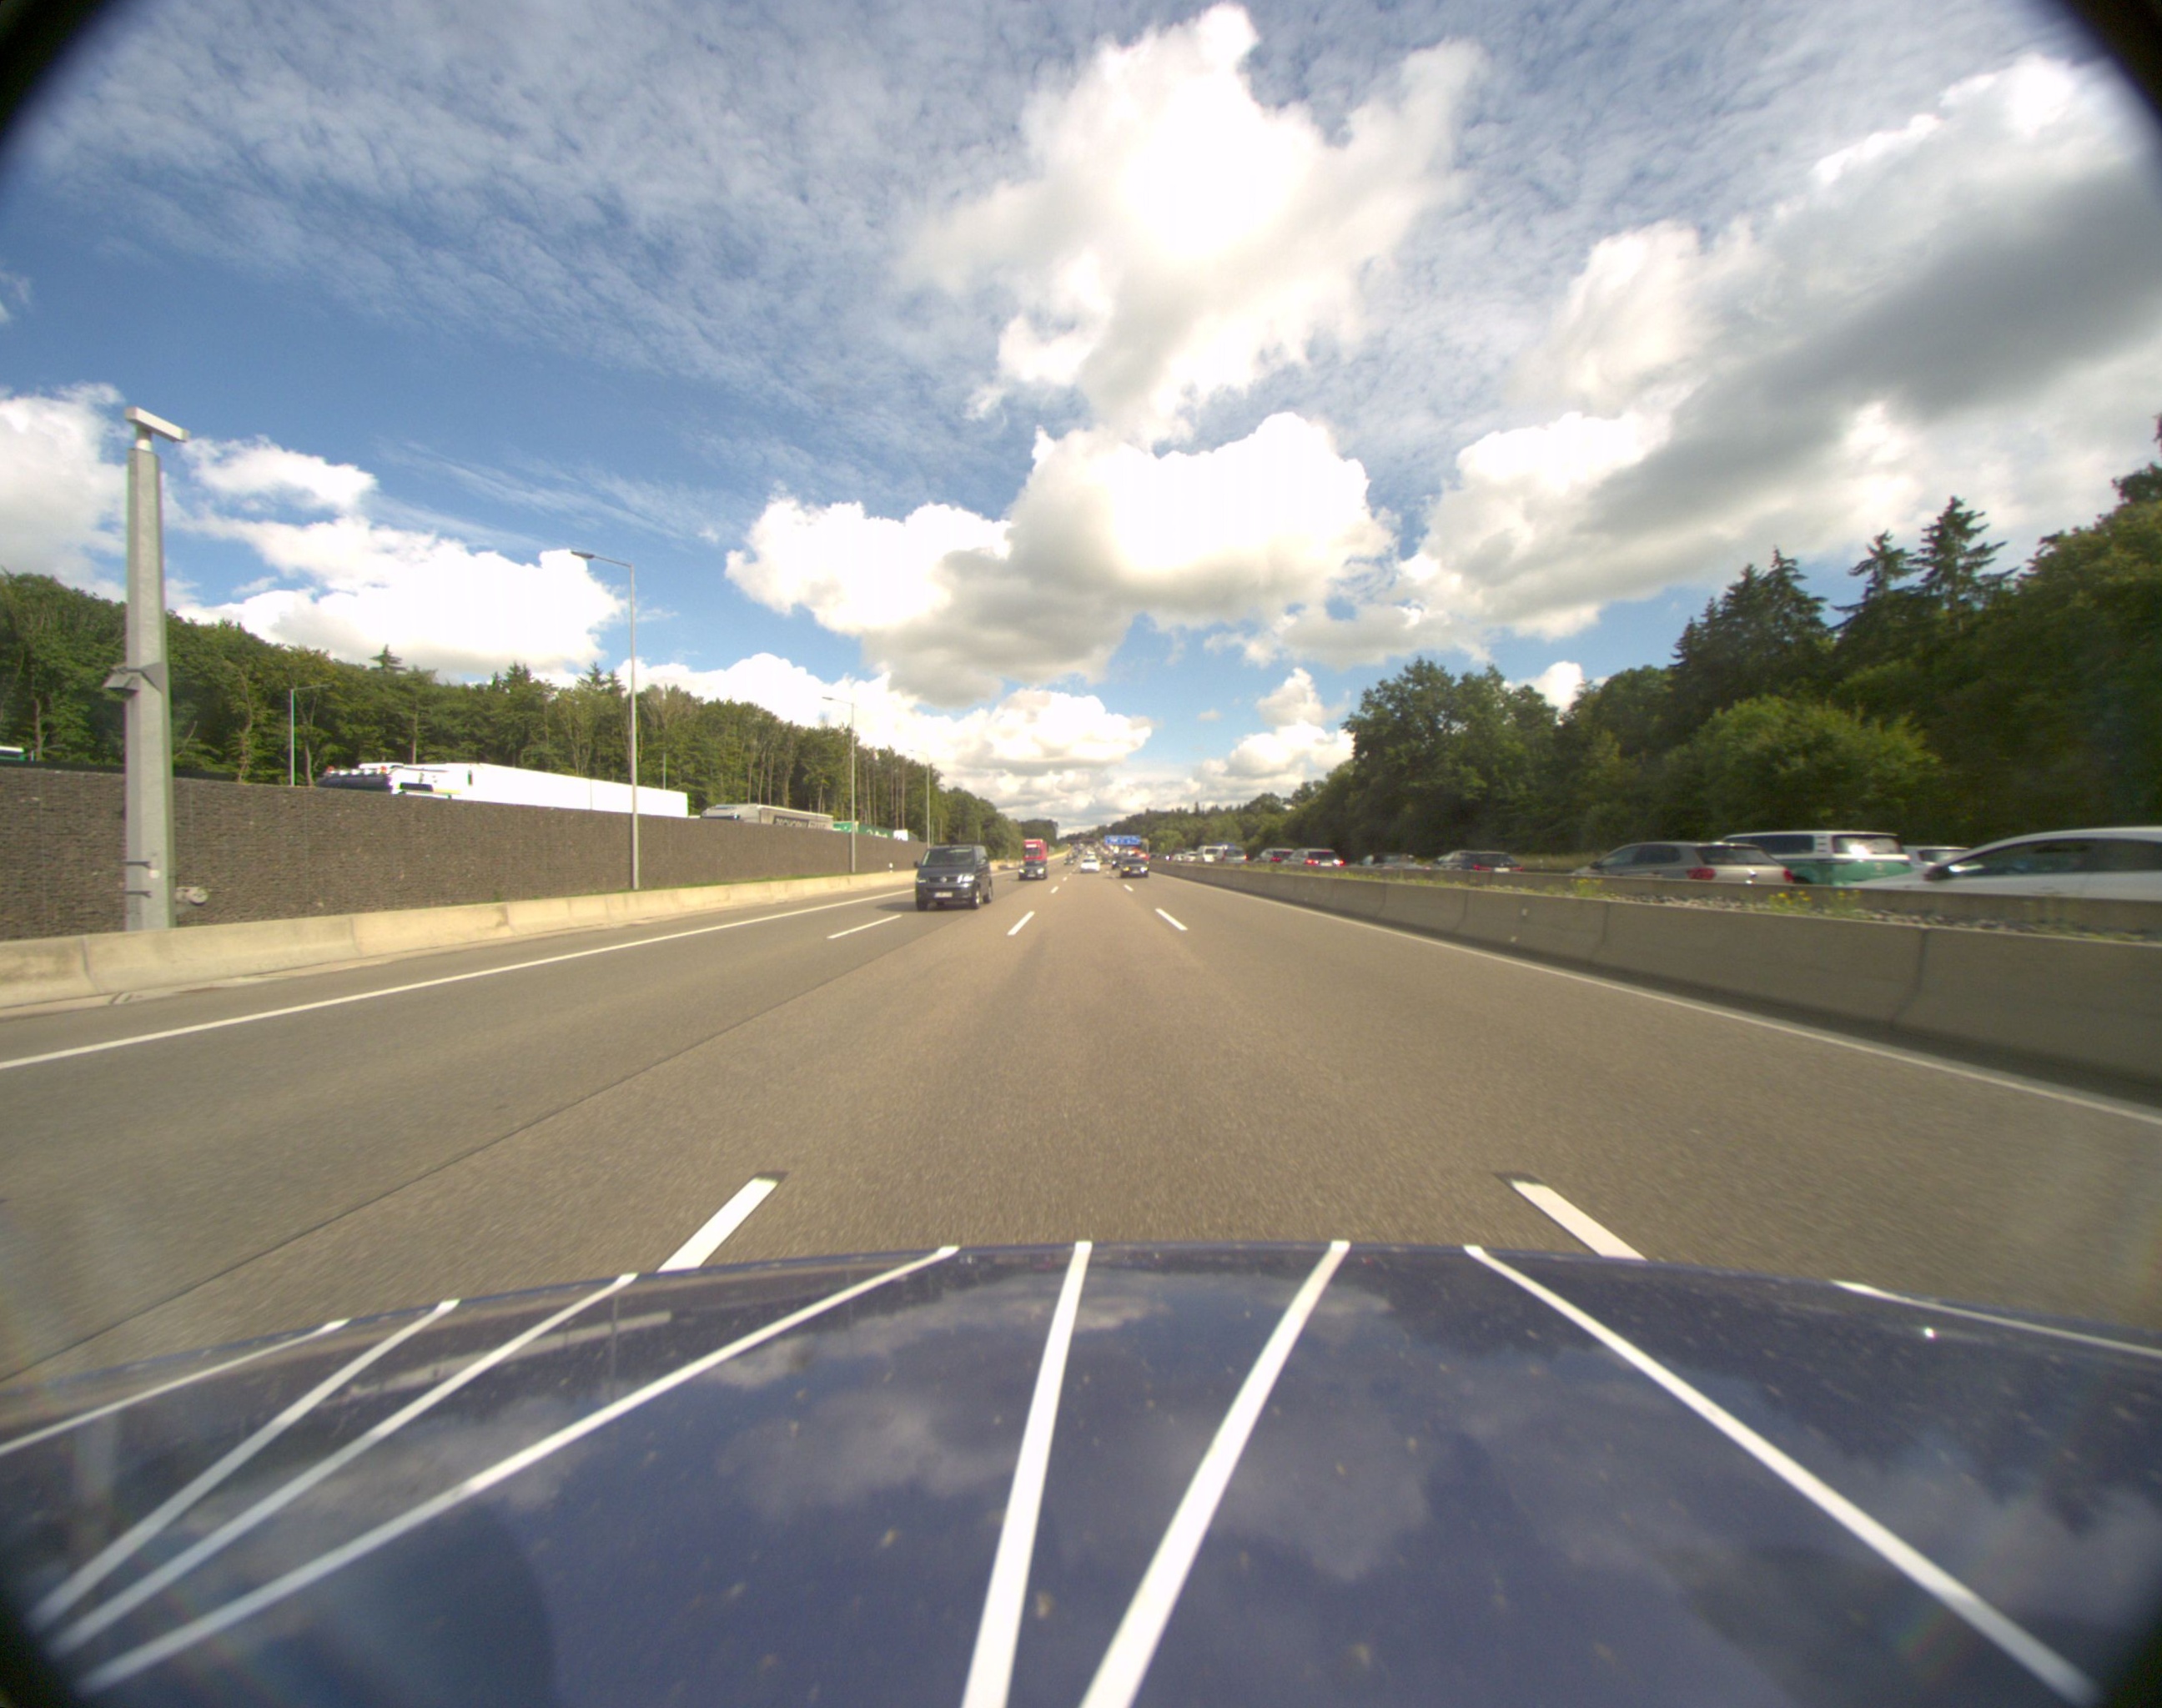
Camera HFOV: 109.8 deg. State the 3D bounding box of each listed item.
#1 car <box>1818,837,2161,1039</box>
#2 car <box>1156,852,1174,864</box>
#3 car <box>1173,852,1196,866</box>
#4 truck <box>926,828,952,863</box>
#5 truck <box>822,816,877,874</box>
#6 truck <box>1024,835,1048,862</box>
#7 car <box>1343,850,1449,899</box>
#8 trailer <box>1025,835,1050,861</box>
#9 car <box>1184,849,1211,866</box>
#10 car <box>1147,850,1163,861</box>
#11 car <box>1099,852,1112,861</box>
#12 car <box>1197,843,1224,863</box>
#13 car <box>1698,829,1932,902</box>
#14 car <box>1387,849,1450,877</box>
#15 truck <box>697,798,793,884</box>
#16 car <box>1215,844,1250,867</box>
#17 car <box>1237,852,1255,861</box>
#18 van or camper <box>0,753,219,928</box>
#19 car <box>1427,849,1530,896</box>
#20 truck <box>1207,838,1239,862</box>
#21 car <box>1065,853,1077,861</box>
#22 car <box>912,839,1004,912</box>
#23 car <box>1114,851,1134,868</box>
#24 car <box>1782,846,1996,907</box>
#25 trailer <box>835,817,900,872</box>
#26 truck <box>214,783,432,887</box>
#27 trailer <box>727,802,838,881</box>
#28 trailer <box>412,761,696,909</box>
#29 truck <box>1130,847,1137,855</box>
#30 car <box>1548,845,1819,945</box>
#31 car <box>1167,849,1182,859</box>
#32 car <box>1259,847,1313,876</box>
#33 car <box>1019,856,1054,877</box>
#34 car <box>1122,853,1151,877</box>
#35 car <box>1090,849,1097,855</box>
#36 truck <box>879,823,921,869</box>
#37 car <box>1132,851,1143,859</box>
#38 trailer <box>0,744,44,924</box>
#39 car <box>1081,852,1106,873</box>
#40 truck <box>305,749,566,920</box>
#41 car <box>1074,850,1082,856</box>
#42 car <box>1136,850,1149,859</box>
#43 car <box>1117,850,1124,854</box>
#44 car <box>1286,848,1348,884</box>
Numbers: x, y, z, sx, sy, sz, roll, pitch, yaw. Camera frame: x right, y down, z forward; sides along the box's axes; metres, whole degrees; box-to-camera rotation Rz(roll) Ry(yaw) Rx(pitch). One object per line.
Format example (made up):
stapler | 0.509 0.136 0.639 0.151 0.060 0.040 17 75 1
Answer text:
car | 9.441 0.665 6.888 1.665 1.608 4.000 0 0 1
car | 10.832 0.514 98.085 1.998 1.543 4.000 0 0 1
car | 11.318 0.516 83.550 1.998 1.543 4.000 0 0 1
truck | -20.316 -1.207 108.968 2.661 4.896 5.949 0 0 0
truck | -20.509 -0.779 67.688 2.661 4.896 6.969 0 0 0
truck | -6.352 -0.800 107.597 3.018 3.662 7.560 -1 0 -1
car | 10.625 0.648 25.947 1.998 1.543 4.000 0 0 1
trailer | -6.437 -0.847 114.453 3.018 3.662 13.574 -1 0 -1
car | 10.916 0.274 71.552 1.998 1.543 4.000 0 0 1
car | 11.053 0.238 113.895 1.998 1.543 4.000 0 0 1
car | 4.495 0.400 140.293 2.153 1.540 4.677 0 0 1
car | 10.579 -0.083 62.244 1.634 1.543 4.000 0 0 1
car | 17.921 0.260 18.873 1.988 1.608 4.000 0 0 1
car | 20.006 0.513 45.213 1.998 1.543 4.000 0 0 1
truck | -20.594 -0.734 47.063 2.661 4.896 7.261 0 0 0
car | 10.514 0.115 53.038 1.698 1.543 4.000 0 0 1
car | 27.481 0.387 126.583 1.998 1.543 4.205 0 0 1
van or camper | -20.700 -0.232 14.732 2.393 3.179 4.743 -1 0 3
car | 14.109 0.612 27.219 1.635 1.543 4.000 0 0 1
truck | 14.822 -0.396 79.495 2.368 2.444 5.239 0 0 1
car | -1.979 0.563 147.176 2.153 1.540 4.677 -2 0 1
car | -3.879 0.642 24.905 1.853 2.097 4.933 -2 0 4
car | 4.913 0.571 87.213 2.152 1.800 5.099 -2 1 1
car | 22.344 0.577 21.283 1.780 1.543 4.000 0 0 1
trailer | -20.511 -0.849 73.983 2.661 4.896 12.734 0 0 0
truck | -32.535 -0.783 33.069 2.982 4.001 6.254 -2 1 0
trailer | -20.539 -0.800 53.386 2.661 4.896 12.742 0 0 0
trailer | -20.905 -0.639 31.891 2.661 4.896 13.111 0 0 0
truck | 16.545 -0.983 239.428 1.998 2.306 4.609 0 0 1
car | 10.602 0.640 13.822 1.800 1.543 4.000 0 0 1
car | 14.606 0.054 118.977 1.998 1.543 4.000 0 0 1
car | 11.502 0.421 42.947 1.998 1.543 4.000 0 0 1
car | -3.114 0.861 54.092 2.153 1.426 5.099 0 0 1
car | 3.780 0.721 52.539 1.733 1.500 4.728 -2 0 1
car | 3.688 -0.528 224.325 2.153 1.540 4.677 -2 0 1
truck | -20.171 -0.826 85.094 2.660 4.896 7.385 0 0 2
car | 11.554 0.250 154.463 1.998 1.543 4.000 0 0 1
trailer | -27.968 -0.479 13.149 2.880 4.480 12.996 0 0 -4
car | 1.117 0.716 71.308 2.153 1.800 5.098 -2 1 0
truck | -20.937 -0.569 25.368 2.661 4.896 6.985 0 0 0
car | -0.814 -0.160 207.131 2.153 1.540 4.677 -2 0 1
car | 10.594 0.048 131.351 1.998 1.543 4.000 0 0 1
car | 12.680 -0.625 242.673 1.998 1.543 4.000 0 0 1
car | 10.665 0.517 34.600 1.642 1.543 4.000 0 0 1
